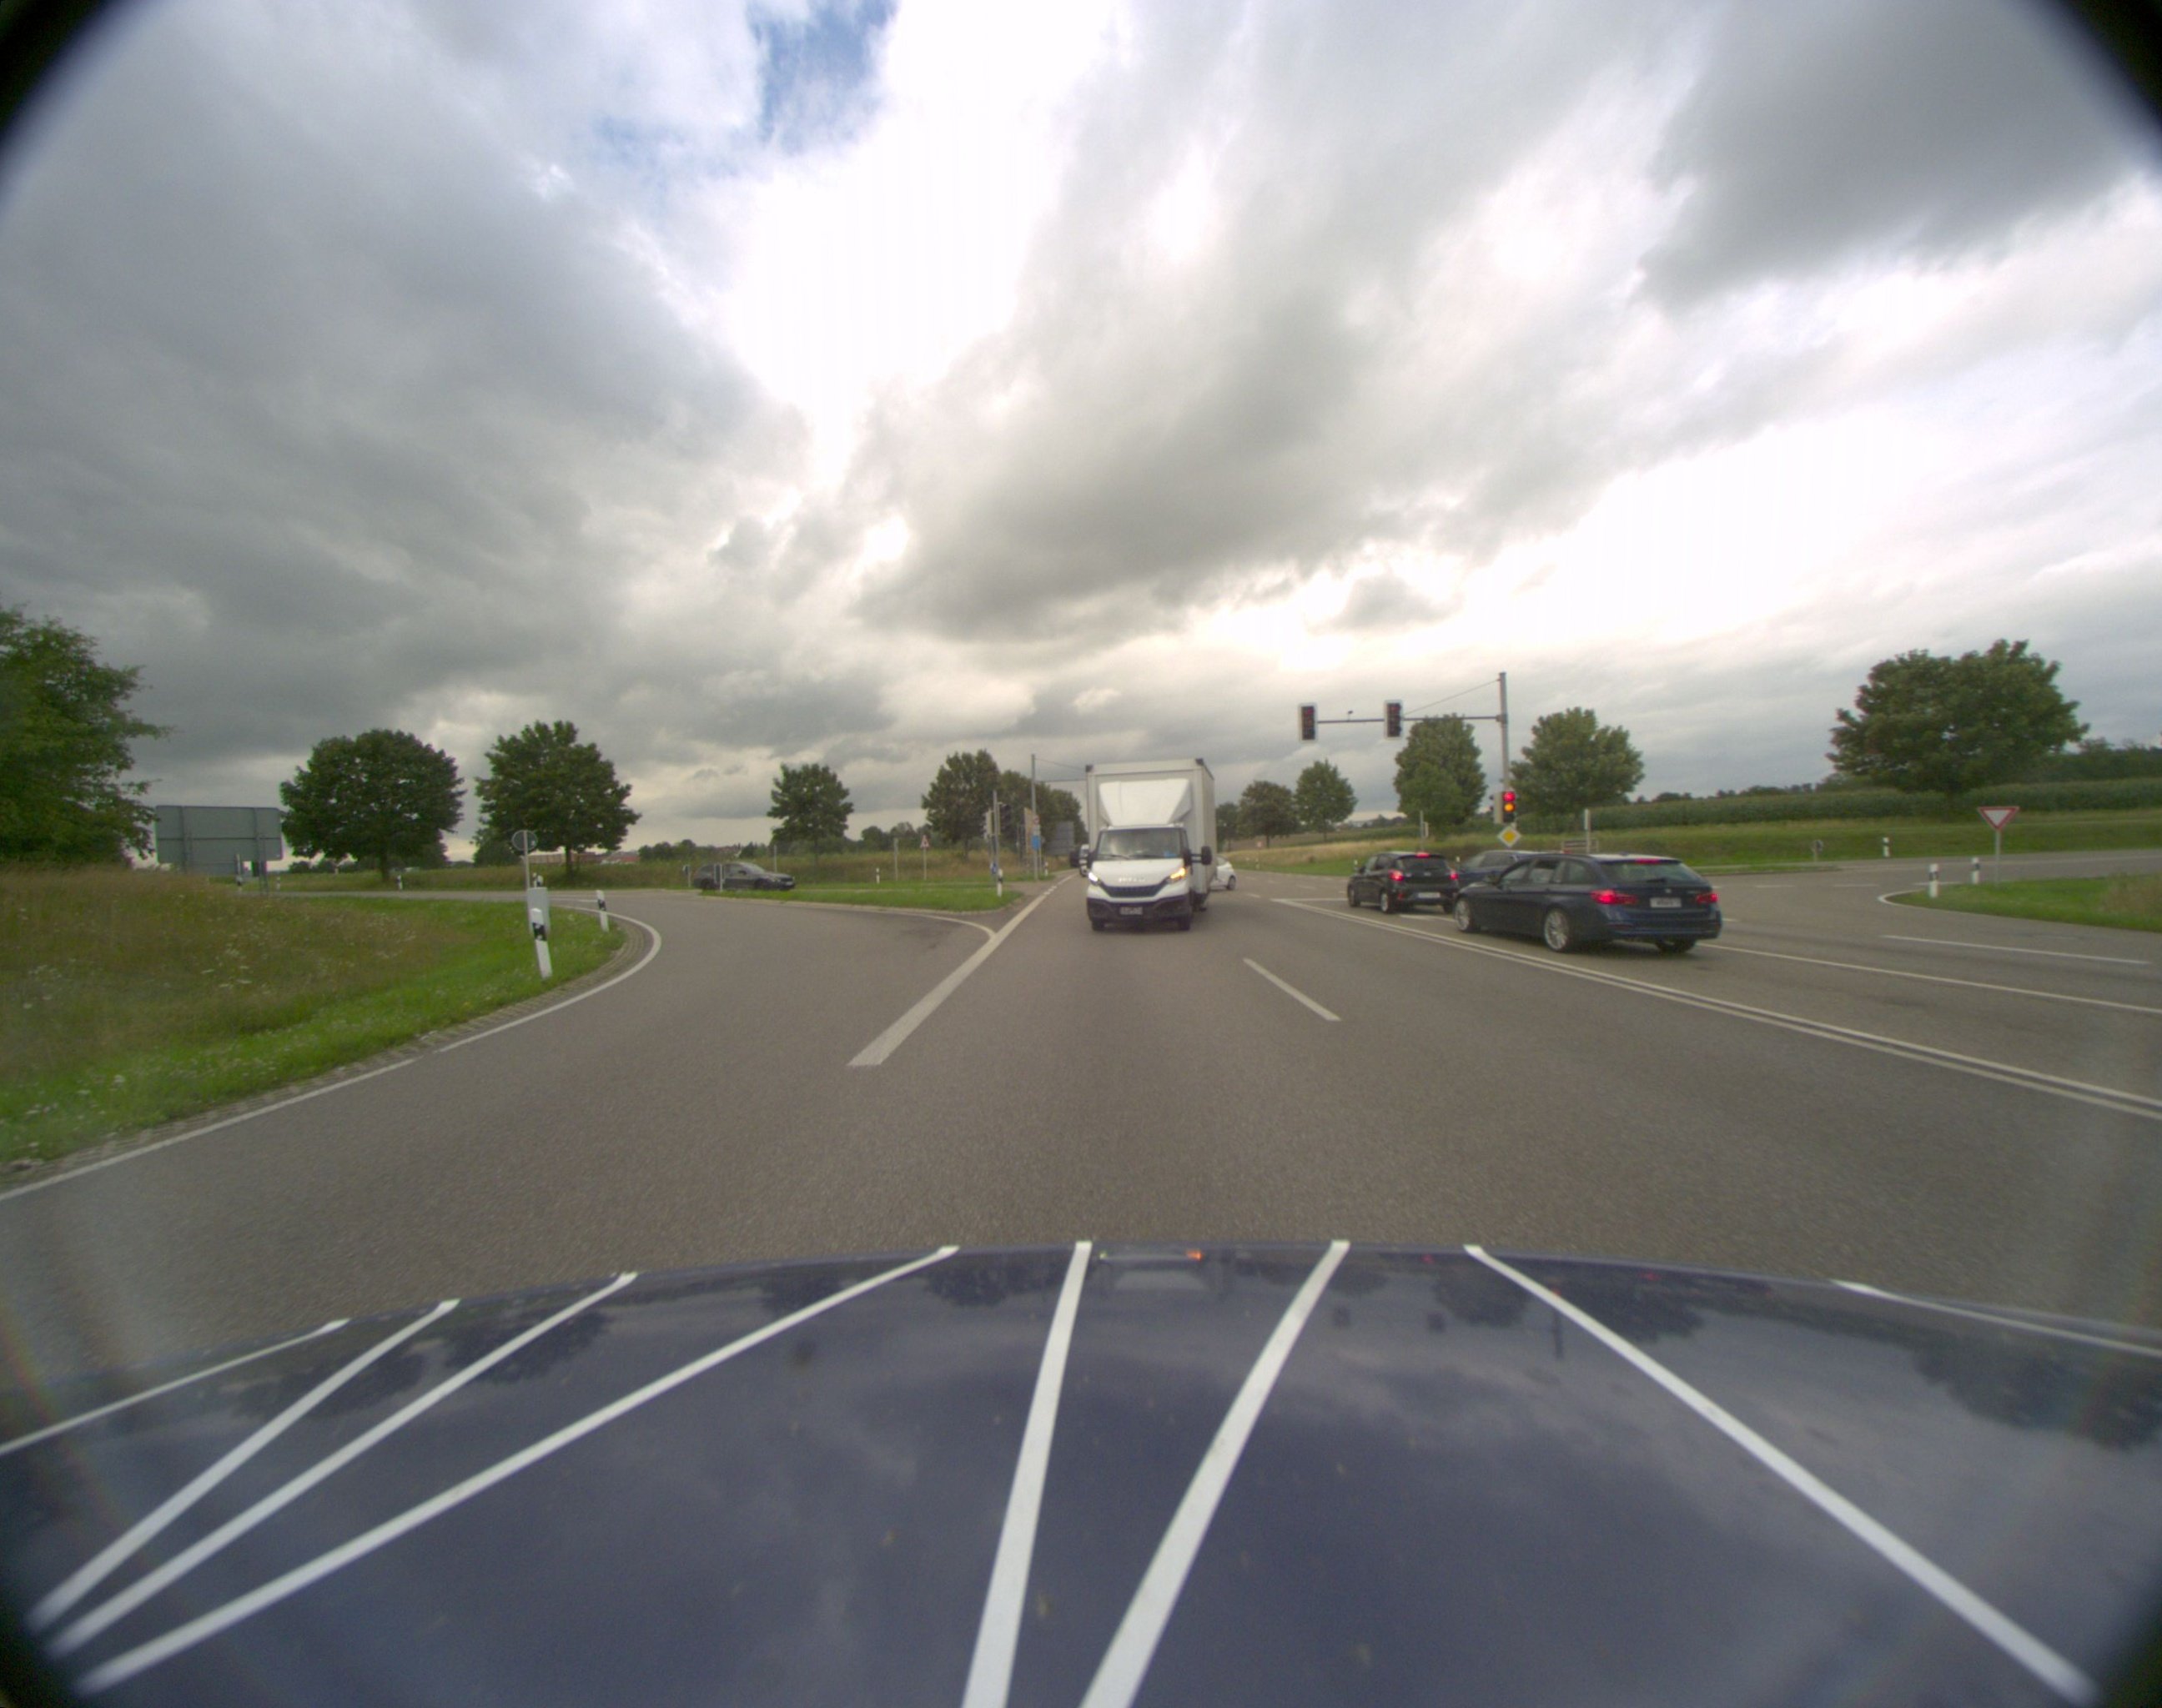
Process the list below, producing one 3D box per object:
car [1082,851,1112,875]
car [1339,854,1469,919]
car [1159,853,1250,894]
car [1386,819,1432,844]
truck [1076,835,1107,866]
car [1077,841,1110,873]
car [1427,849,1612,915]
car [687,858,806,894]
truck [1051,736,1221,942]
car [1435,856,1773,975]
[{"bbox_3d":[1.165,0.606,54.683,1.998,1.619,4.275,-3,0,1],"label":"car"},{"bbox_3d":[8.014,0.743,19.247,1.730,1.435,3.944,-1,0,2],"label":"car"},{"bbox_3d":[5.055,0.752,30.778,1.805,1.444,4.008,-1,0,40],"label":"car"},{"bbox_3d":[29.354,-1.981,68.045,1.999,2.002,3.998,-4,0,-5],"label":"car"},{"bbox_3d":[1.210,-0.370,82.628,3.106,3.091,7.407,-1,0,2],"label":"truck"},{"bbox_3d":[1.089,0.222,63.004,2.396,2.427,5.513,-3,0,3],"label":"car"},{"bbox_3d":[11.658,0.657,20.734,2.050,1.526,5.126,-1,0,-1],"label":"car"},{"bbox_3d":[-15.390,1.012,35.078,4.660,1.494,2.001,-1,0,10],"label":"car"},{"bbox_3d":[1.776,-0.298,18.421,2.834,3.742,8.807,-1,1,12],"label":"truck"},{"bbox_3d":[7.765,0.782,12.079,2.053,1.475,4.881,0,0,0],"label":"car"}]
